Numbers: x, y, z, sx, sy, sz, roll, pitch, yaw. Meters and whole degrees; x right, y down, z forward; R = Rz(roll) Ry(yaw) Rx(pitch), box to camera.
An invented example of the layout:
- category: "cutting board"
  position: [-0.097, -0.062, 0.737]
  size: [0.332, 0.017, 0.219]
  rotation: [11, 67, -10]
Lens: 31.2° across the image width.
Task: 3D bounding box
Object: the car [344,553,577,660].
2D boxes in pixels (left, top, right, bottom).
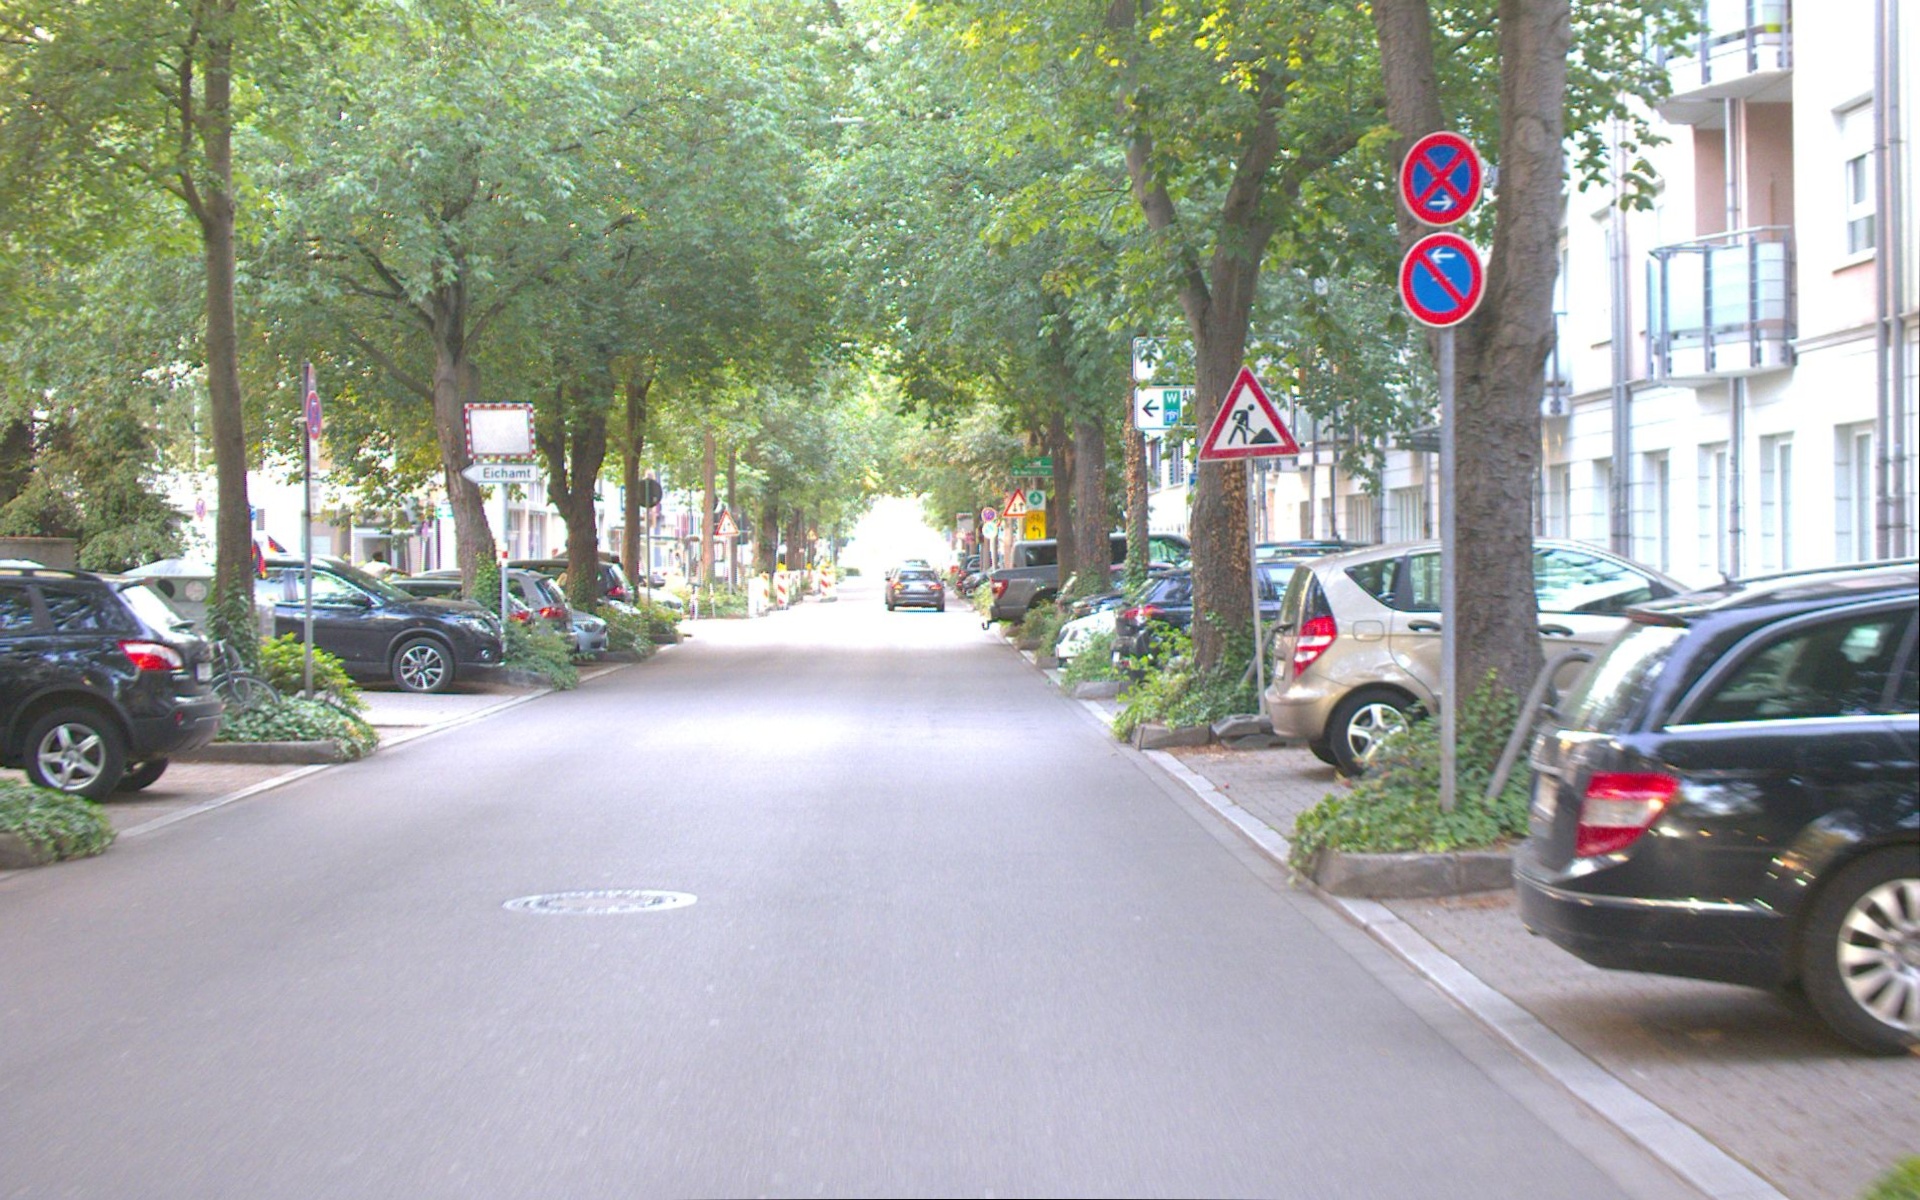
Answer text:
- category: "car"
  position: [-7.733, 0.083, 53.434]
  size: [3.404, 1.604, 1.761]
  rotation: [-1, 1, -3]

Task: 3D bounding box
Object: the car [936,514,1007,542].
- category: "car"
  position: [0.650, -4.132, 197.812]
  size: [3.986, 1.592, 2.000]
  rotation: [-1, 1, -4]

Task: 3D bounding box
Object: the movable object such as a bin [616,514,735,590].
- category: "movable object such as a bin"
  position: [-9.051, -1.525, 109.646]
  size: [3.665, 2.325, 2.584]
  rotation: [-1, 1, -2]

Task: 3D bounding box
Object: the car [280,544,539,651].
- category: "car"
  position: [-7.681, -0.050, 48.184]
  size: [3.404, 1.437, 1.594]
  rotation: [-1, 1, -3]

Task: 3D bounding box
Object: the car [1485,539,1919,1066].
- category: "car"
  position: [3.933, 0.512, 10.724]
  size: [4.358, 1.465, 1.731]
  rotation: [-3, 1, 4]

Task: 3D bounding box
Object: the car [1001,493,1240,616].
- category: "car"
  position: [3.231, -0.929, 69.946]
  size: [4.620, 2.125, 2.037]
  rotation: [-4, 1, 0]

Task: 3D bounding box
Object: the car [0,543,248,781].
- category: "car"
  position: [-7.114, 0.411, 23.906]
  size: [3.986, 1.583, 1.828]
  rotation: [0, 1, -3]

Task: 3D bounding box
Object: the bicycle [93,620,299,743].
- category: "bicycle"
  position: [-6.240, 0.657, 28.095]
  size: [1.555, 0.933, 0.484]
  rotation: [-2, 1, -24]

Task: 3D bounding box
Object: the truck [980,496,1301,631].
- category: "truck"
  position: [3.491, -0.718, 67.354]
  size: [6.004, 2.125, 2.261]
  rotation: [-5, 1, 0]

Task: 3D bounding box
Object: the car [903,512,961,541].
- category: "car"
  position: [-1.994, -5.180, 242.132]
  size: [3.987, 2.007, 2.000]
  rotation: [-1, 1, 1]

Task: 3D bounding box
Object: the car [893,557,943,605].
- category: "car"
  position: [-1.300, -0.588, 106.058]
  size: [1.500, 1.411, 3.714]
  rotation: [-1, 1, -1]

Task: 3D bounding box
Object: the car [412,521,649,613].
- category: "car"
  position: [-8.288, -0.650, 66.682]
  size: [4.395, 1.679, 2.064]
  rotation: [1, 1, -3]

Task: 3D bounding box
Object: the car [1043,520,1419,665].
- category: "car"
  position: [3.430, -0.108, 44.071]
  size: [4.572, 1.546, 1.773]
  rotation: [-3, 1, -1]

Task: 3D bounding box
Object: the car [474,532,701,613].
- category: "car"
  position: [-7.752, -0.573, 71.909]
  size: [4.498, 1.576, 2.055]
  rotation: [1, 0, 0]

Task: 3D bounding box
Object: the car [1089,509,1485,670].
- category: "car"
  position: [3.560, -0.135, 37.915]
  size: [3.986, 1.469, 1.914]
  rotation: [-4, 1, -4]

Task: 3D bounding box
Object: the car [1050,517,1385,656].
- category: "car"
  position: [3.654, -0.202, 49.214]
  size: [4.382, 1.698, 1.896]
  rotation: [-4, 1, -8]

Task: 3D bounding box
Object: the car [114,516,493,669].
- category: "car"
  position: [-8.208, -0.111, 43.291]
  size: [4.418, 1.886, 2.000]
  rotation: [0, 1, -1]

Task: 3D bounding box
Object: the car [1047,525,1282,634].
- category: "car"
  position: [3.401, -0.333, 57.661]
  size: [3.664, 1.543, 1.781]
  rotation: [-4, 0, -3]

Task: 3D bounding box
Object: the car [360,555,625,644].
- category: "car"
  position: [-7.515, -0.018, 55.514]
  size: [4.099, 1.375, 1.747]
  rotation: [1, 1, -3]

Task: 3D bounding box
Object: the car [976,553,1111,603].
- category: "car"
  position: [2.774, -0.725, 114.141]
  size: [4.437, 1.586, 1.629]
  rotation: [-1, 1, 2]

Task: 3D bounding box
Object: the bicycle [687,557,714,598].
- category: "bicycle"
  position: [-7.203, -0.622, 95.402]
  size: [0.601, 1.114, 1.800]
  rotation: [-1, 1, -1]

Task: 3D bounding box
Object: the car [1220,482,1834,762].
- category: "car"
  position: [3.869, 0.129, 23.961]
  size: [3.862, 1.661, 1.926]
  rotation: [-3, 1, -1]

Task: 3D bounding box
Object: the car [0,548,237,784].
- category: "car"
  position: [-7.232, 0.432, 24.032]
  size: [3.987, 1.586, 1.789]
  rotation: [0, 1, -1]
